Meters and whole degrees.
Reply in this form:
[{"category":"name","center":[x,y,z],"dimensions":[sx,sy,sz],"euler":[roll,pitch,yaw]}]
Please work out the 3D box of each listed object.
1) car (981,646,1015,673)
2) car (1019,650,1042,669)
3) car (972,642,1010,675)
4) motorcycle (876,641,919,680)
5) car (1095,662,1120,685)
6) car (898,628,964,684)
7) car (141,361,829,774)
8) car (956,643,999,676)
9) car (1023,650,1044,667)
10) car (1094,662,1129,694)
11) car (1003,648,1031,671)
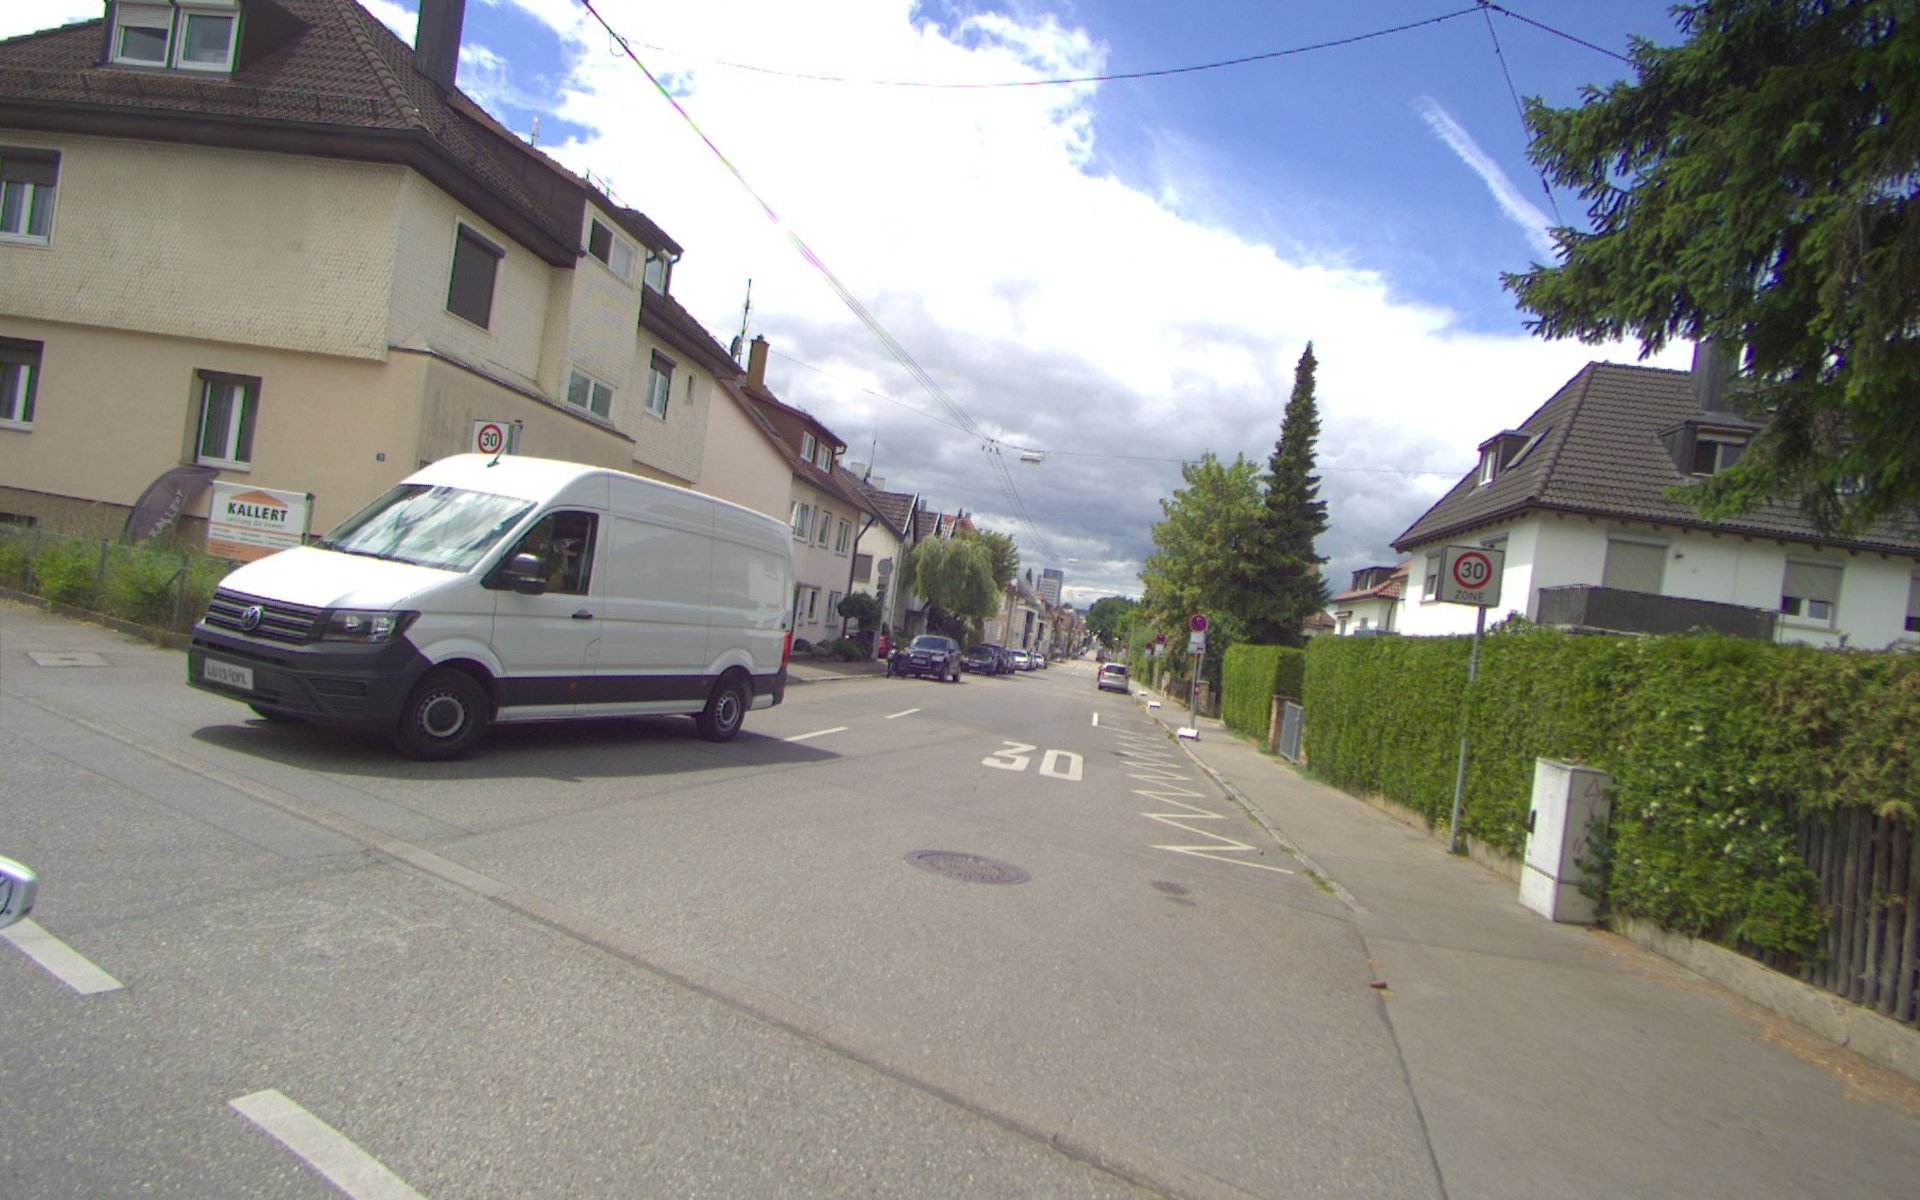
[{"category":"car","center":[2.388,3.694,62.567],"dimensions":[1.672,1.400,4.005],"euler":[7,-2,7]},{"category":"car","center":[6.015,5.056,85.388],"dimensions":[1.672,1.400,4.005],"euler":[7,-2,7]},{"category":"car","center":[1.787,3.327,57.434],"dimensions":[1.672,1.560,4.005],"euler":[7,-2,7]},{"category":"motorcycle","center":[-2.064,2.023,33.388],"dimensions":[0.521,1.171,1.761],"euler":[7,-2,25]},{"category":"car","center":[11.849,5.909,81.037],"dimensions":[1.672,1.560,4.006],"euler":[7,-2,7]},{"category":"car","center":[-0.986,2.031,36.612],"dimensions":[1.672,1.681,4.005],"euler":[7,-2,7]},{"category":"car","center":[-3.741,-0.063,9.685],"dimensions":[1.963,2.611,6.018],"euler":[8,-1,21]},{"category":"car","center":[0.927,3.039,51.759],"dimensions":[1.672,1.400,4.005],"euler":[7,-2,7]},{"category":"car","center":[7.017,5.590,96.352],"dimensions":[1.672,1.400,4.005],"euler":[7,-2,7]},{"category":"car","center":[8.744,4.465,58.162],"dimensions":[1.672,1.560,4.006],"euler":[7,-2,7]},{"category":"car","center":[4.287,4.448,75.346],"dimensions":[1.672,1.400,4.005],"euler":[7,-2,7]}]
